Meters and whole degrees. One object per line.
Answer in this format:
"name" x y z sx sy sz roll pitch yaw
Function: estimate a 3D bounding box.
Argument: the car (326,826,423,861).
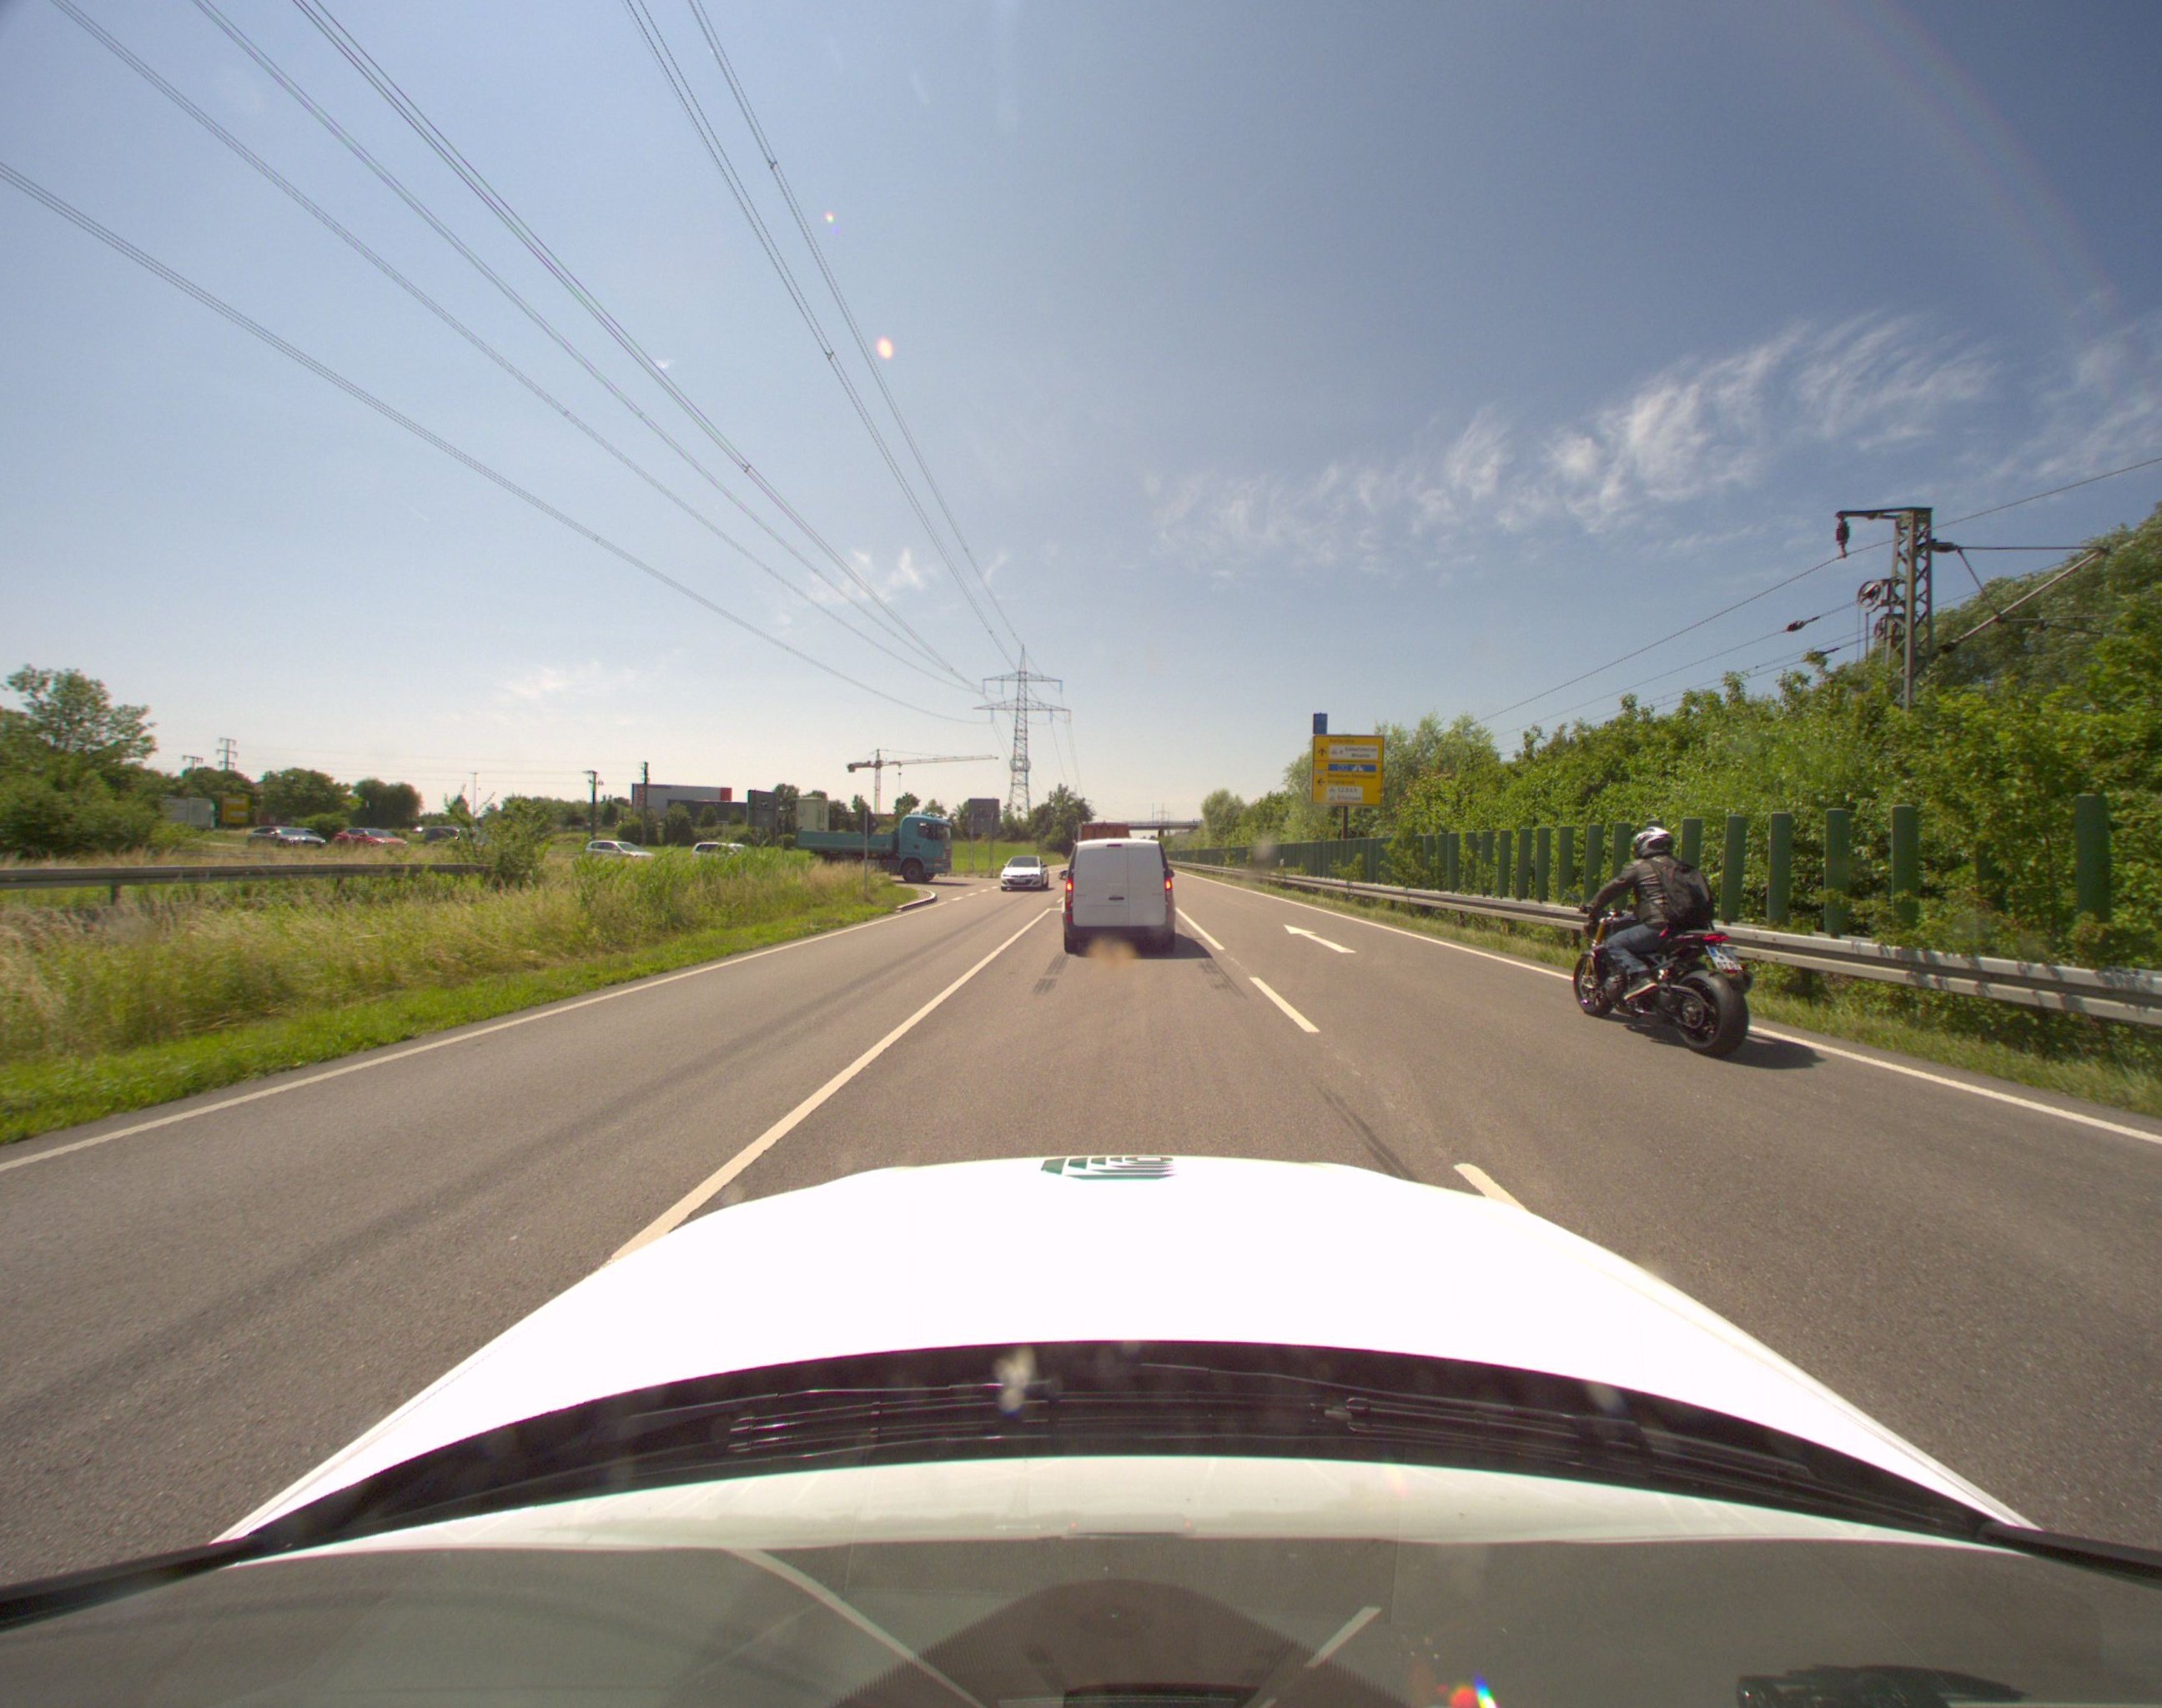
"car" -40.842 -0.602 47.092 4.437 1.849 1.923 1 0 13

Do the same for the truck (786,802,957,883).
"truck" -10.557 -0.584 41.373 7.867 3.734 2.501 2 0 5

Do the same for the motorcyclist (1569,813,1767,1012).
"motorcyclist" 4.677 0.440 6.578 0.886 1.476 1.002 0 0 2

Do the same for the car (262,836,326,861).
"car" -55.549 -0.387 57.498 3.950 1.679 2.012 0 0 26

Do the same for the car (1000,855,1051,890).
"car" -2.375 0.778 35.915 1.718 1.441 4.252 0 0 3

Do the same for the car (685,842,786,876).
"car" -17.814 0.229 42.013 4.506 1.612 1.977 1 0 17

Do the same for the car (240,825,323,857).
"car" -48.228 -0.785 49.140 3.959 1.901 1.665 0 0 13

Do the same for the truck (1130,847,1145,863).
"truck" 9.507 0.176 138.173 2.365 2.689 8.014 1 0 2

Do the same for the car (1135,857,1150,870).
"car" 7.757 1.241 103.125 1.841 1.574 4.003 -1 0 3

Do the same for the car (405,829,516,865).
"car" -34.462 -0.417 45.280 4.905 1.867 2.095 2 1 11

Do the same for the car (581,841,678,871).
"car" -23.891 0.116 43.111 4.401 1.470 1.724 1 0 13

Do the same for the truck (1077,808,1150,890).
"truck" 1.293 -0.258 37.419 2.812 3.288 9.696 0 1 -1

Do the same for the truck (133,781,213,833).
"truck" -91.852 -4.553 82.681 3.709 4.646 13.084 1 0 -41

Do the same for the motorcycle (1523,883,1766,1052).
"motorcycle" 4.641 0.865 6.915 0.787 1.157 1.902 1 0 1

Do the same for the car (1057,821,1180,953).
"car" 0.651 0.498 14.221 1.820 1.971 4.002 -1 0 2
